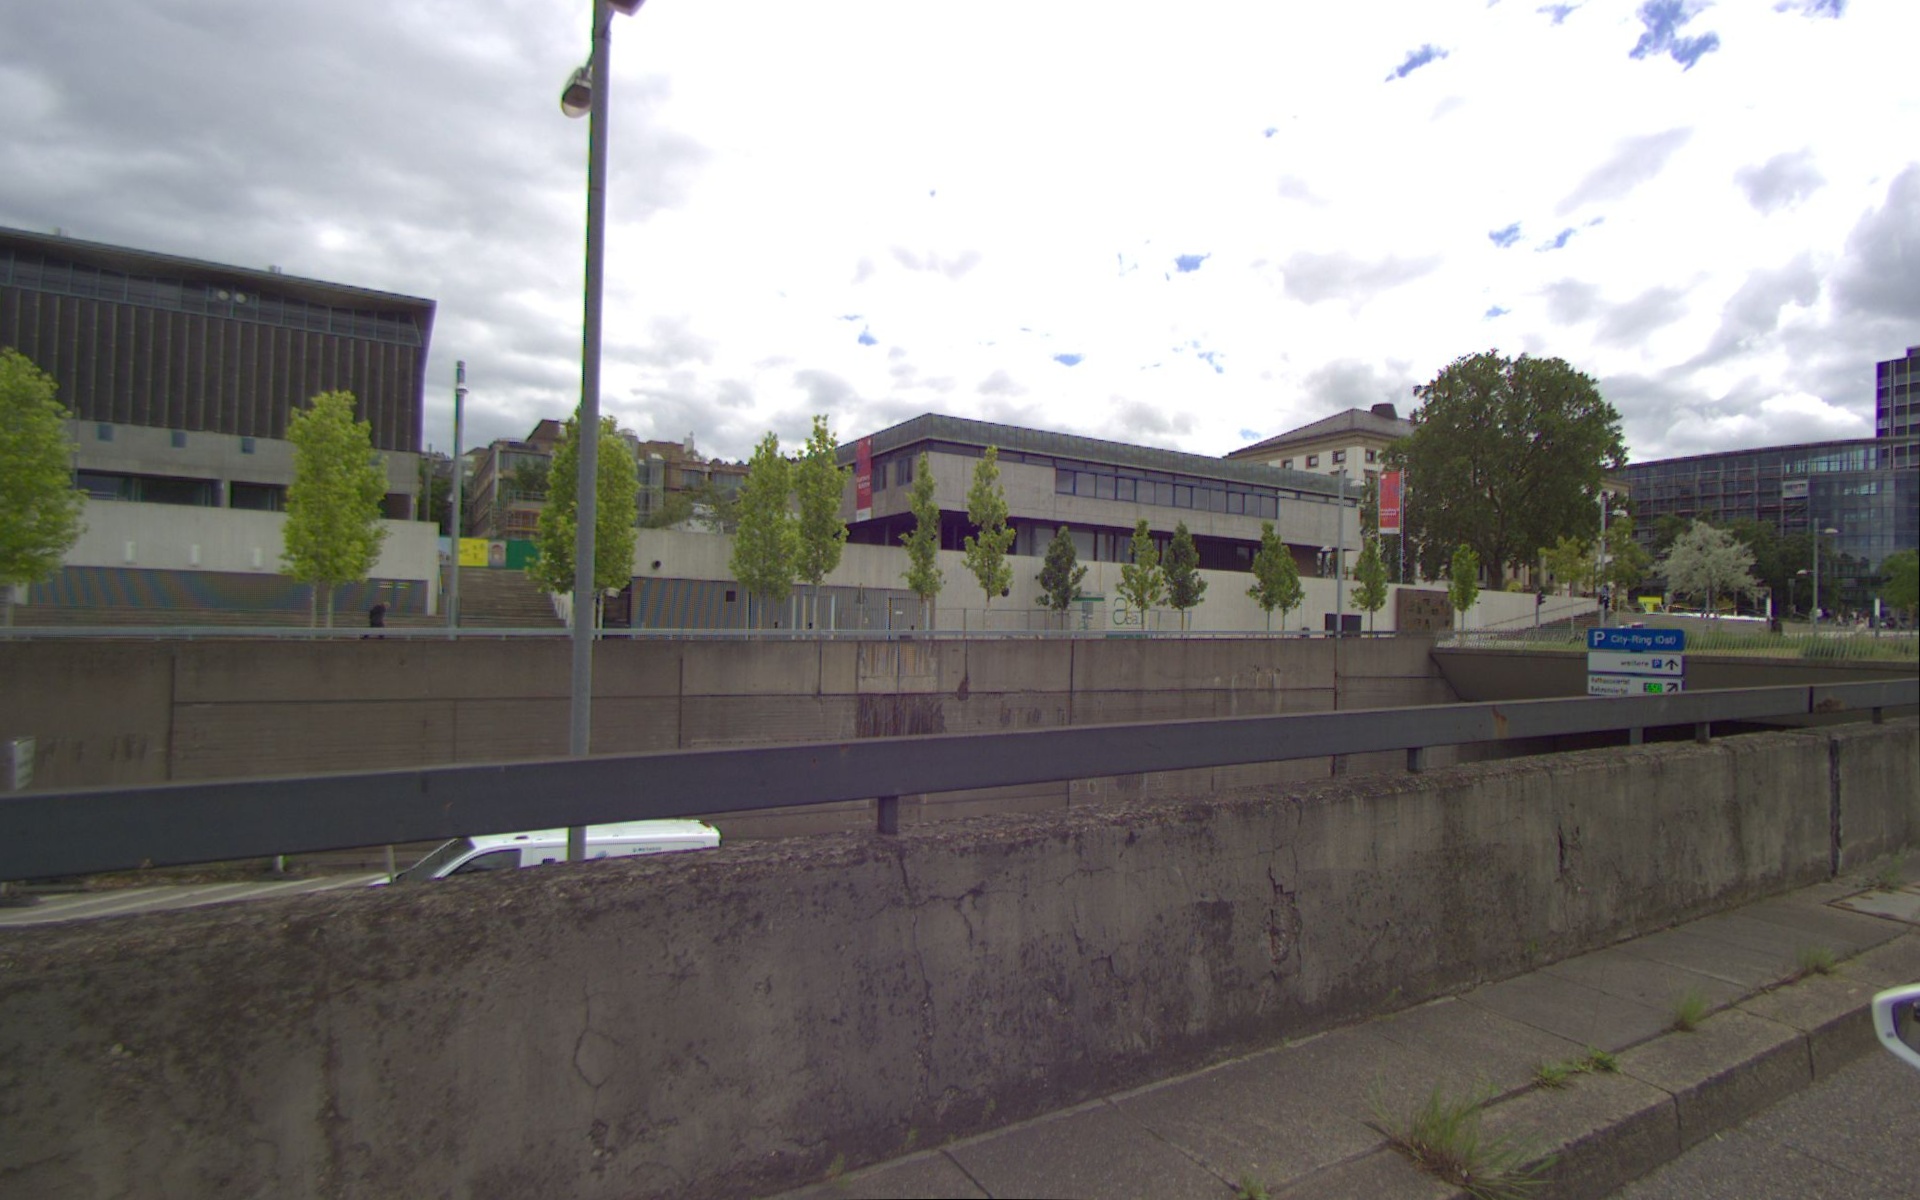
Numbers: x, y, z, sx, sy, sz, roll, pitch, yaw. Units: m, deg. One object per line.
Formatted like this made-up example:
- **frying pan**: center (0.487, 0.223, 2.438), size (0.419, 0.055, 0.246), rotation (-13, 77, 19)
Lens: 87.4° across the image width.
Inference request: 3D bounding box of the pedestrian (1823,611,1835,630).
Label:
- **pedestrian**: center (95.342, 2.218, 110.196), size (0.783, 2.040, 0.735), rotation (0, 0, -29)

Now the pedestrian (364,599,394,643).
- **pedestrian**: center (-22.124, 0.794, 38.266), size (0.779, 1.664, 0.738), rotation (-1, 0, -15)

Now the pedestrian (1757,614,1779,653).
- **pedestrian**: center (43.151, 1.785, 53.635), size (0.623, 2.041, 0.724), rotation (-5, 3, -37)

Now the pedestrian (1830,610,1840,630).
- **pedestrian**: center (89.943, 2.009, 103.226), size (0.730, 2.040, 1.109), rotation (-1, 0, 40)

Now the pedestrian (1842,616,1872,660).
- **pedestrian**: center (41.756, 1.746, 46.759), size (0.622, 2.040, 0.856), rotation (0, 0, -30)

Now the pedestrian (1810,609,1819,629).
- **pedestrian**: center (90.407, 2.024, 106.257), size (0.730, 2.040, 0.789), rotation (-1, 0, 40)

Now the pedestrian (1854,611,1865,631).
- **pedestrian**: center (92.365, 2.136, 103.158), size (0.730, 2.040, 1.109), rotation (-1, 0, 40)

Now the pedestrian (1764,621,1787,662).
- **pedestrian**: center (40.399, 2.048, 49.742), size (0.779, 2.040, 0.834), rotation (-1, -1, 33)

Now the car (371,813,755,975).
- **car**: center (-5.976, 4.323, 15.417), size (5.192, 1.659, 1.984), rotation (4, -8, -32)

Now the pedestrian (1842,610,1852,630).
- **pedestrian**: center (90.601, 2.042, 102.595), size (0.730, 2.040, 0.789), rotation (-1, 0, 40)

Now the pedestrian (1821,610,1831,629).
- **pedestrian**: center (90.728, 2.041, 105.270), size (0.730, 2.040, 0.789), rotation (-1, 0, 40)

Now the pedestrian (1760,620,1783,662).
- **pedestrian**: center (39.830, 2.021, 49.307), size (0.779, 2.040, 0.834), rotation (-1, -1, 33)
